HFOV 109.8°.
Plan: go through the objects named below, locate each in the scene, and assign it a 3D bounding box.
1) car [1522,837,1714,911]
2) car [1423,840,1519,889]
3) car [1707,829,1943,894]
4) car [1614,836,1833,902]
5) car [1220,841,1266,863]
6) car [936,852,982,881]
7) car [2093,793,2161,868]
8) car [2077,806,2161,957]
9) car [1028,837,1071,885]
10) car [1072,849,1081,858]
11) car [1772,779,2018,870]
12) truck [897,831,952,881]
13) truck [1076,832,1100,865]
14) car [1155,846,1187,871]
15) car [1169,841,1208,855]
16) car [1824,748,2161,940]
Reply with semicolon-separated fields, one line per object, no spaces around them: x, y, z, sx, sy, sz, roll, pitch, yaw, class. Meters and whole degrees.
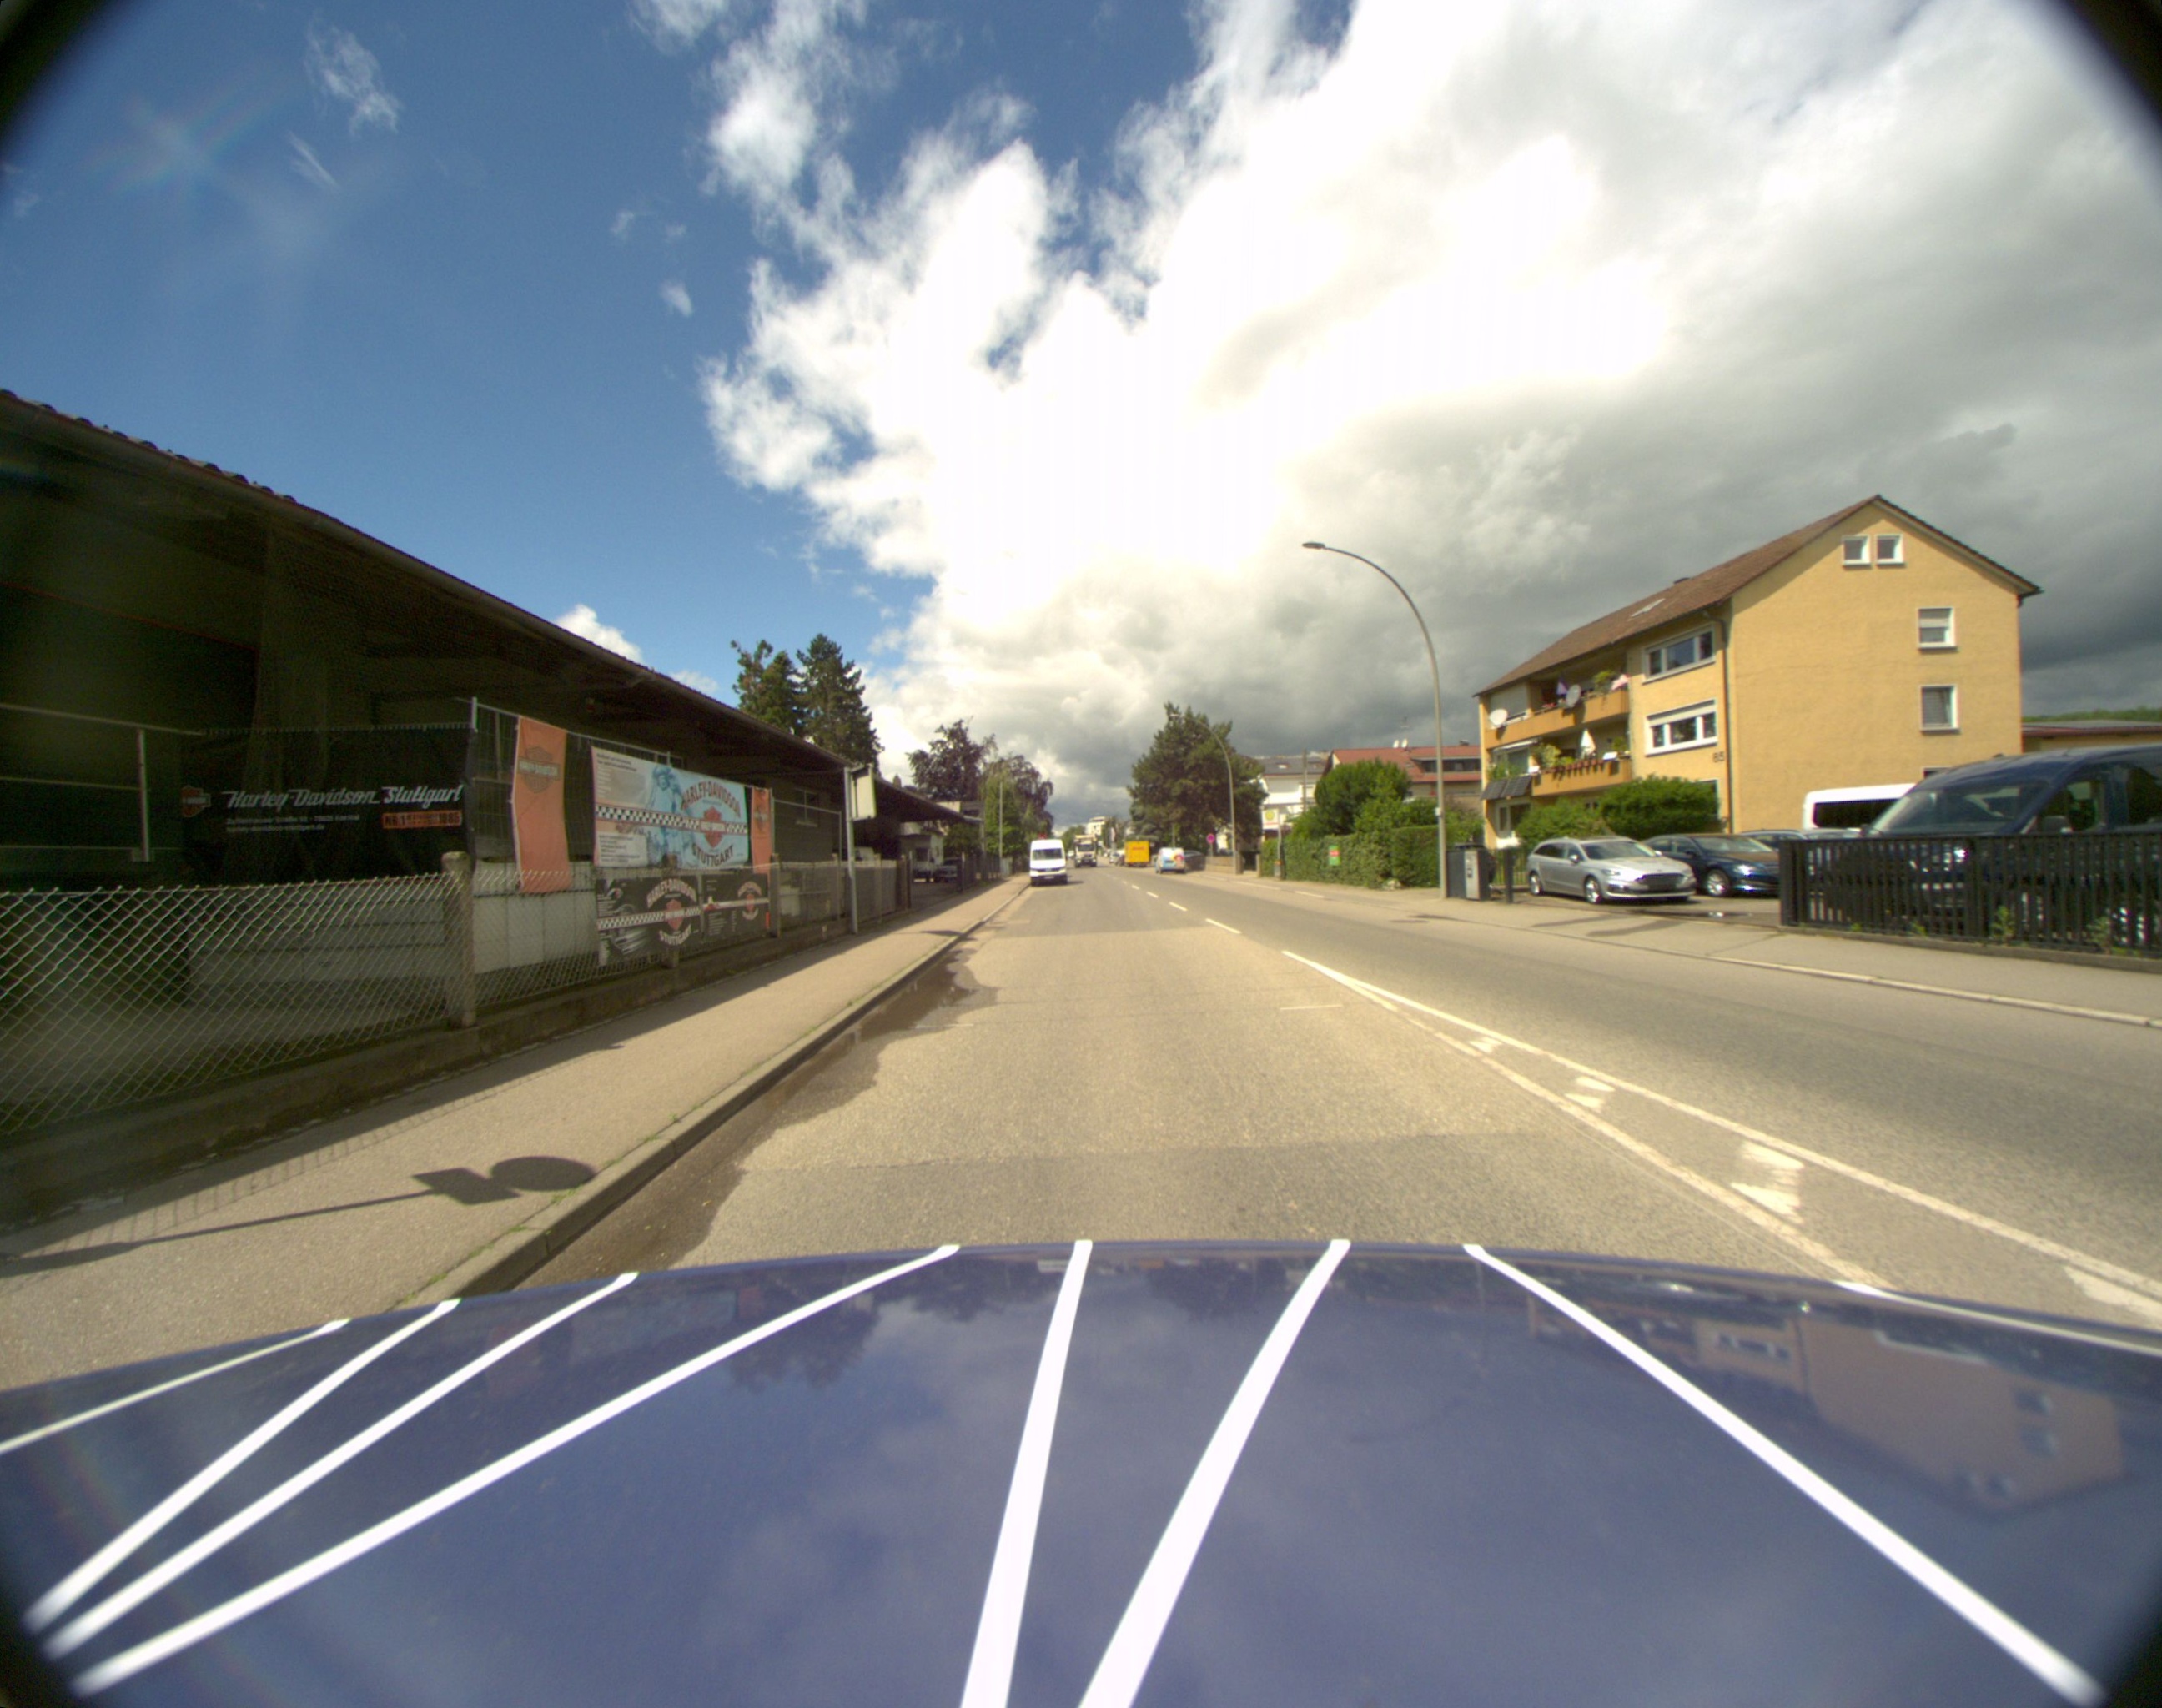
12.339;0.384;17.855;1.887;1.450;4.352;-3;1;8;car
14.629;0.347;28.734;1.831;1.656;3.522;-2;1;1;car
17.912;0.137;18.614;1.883;1.364;3.999;-2;1;1;car
15.104;0.291;18.203;1.885;1.334;3.999;-2;1;1;car
15.298;-0.170;71.848;2.003;2.002;3.990;-3;1;-32;car
-7.137;0.706;44.836;1.863;1.521;5.201;-2;1;0;car
28.713;-0.632;18.819;1.998;1.915;3.999;-2;1;1;car
12.381;0.275;6.950;1.813;1.612;3.621;-2;1;1;car
-1.701;0.348;43.193;2.091;2.519;5.202;-2;1;1;car
-1.042;-0.115;192.954;2.091;2.310;5.202;-2;1;1;car
20.432;-0.698;19.364;1.998;2.002;3.999;-2;1;1;car
-9.472;0.075;46.400;2.091;2.812;5.202;-2;1;1;truck
0.847;-0.684;92.134;2.664;3.789;9.814;-2;1;1;truck
6.493;0.310;55.178;1.730;1.671;3.999;-2;1;-2;car
14.173;-0.774;99.992;4.735;1.669;2.218;-2;1;-1;car
14.217;-0.189;10.678;5.363;2.371;2.104;-2;1;2;car
